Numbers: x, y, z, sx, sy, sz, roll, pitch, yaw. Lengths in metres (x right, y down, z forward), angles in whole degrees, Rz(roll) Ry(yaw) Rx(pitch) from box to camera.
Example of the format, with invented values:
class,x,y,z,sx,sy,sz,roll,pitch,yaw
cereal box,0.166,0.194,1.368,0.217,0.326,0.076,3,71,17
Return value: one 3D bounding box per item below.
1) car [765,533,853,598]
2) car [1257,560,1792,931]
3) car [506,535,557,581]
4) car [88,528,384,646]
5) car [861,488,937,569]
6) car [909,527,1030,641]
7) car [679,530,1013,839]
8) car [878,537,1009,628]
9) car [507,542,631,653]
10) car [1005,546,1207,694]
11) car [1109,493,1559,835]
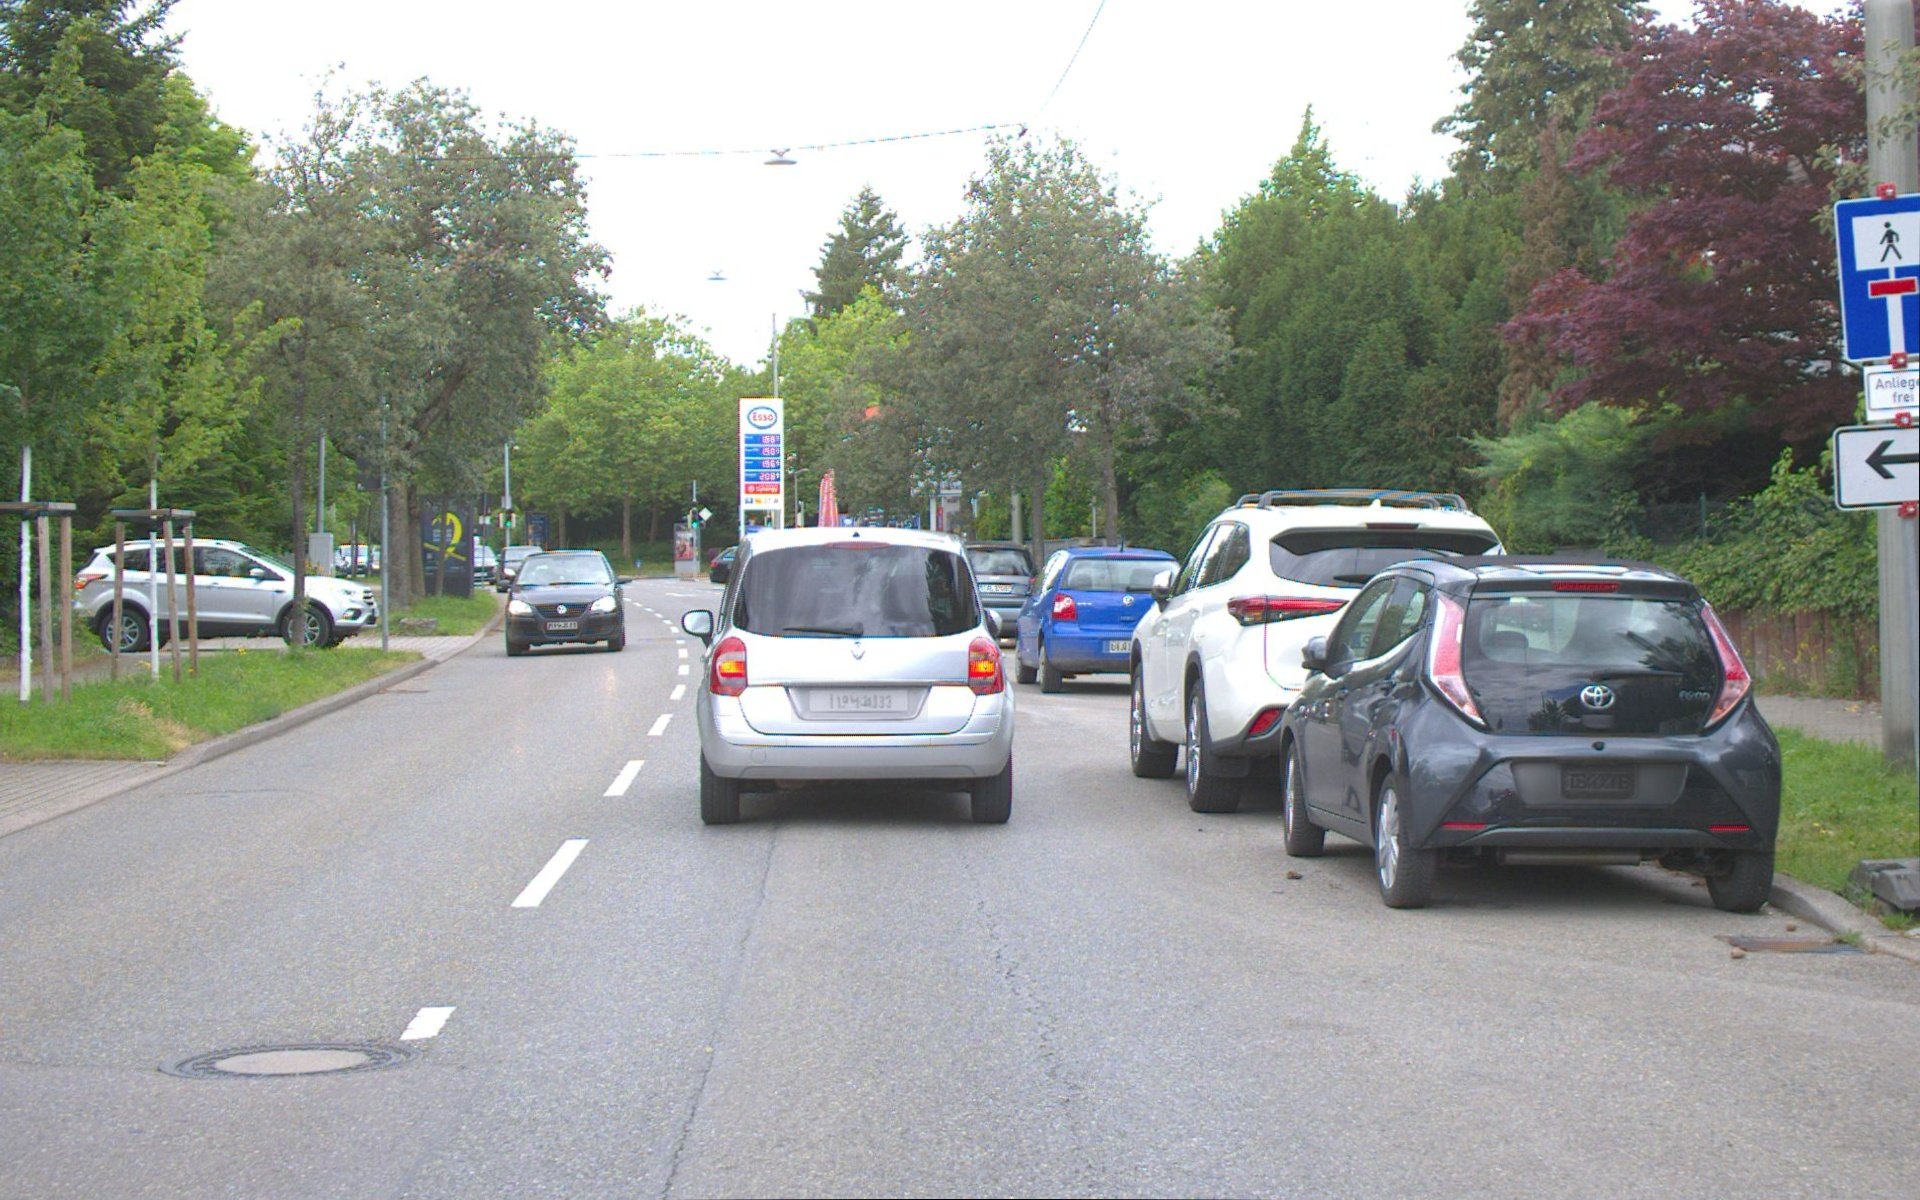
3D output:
class,x,y,z,sx,sy,sz,roll,pitch,yaw
car,-3.631,-0.842,82.113,1.695,1.501,3.974,0,1,-9
car,2.414,0.565,15.497,1.558,1.438,3.507,1,1,-5
car,-13.857,-1.375,111.067,1.544,1.465,3.743,-1,1,-8
car,-10.788,-0.214,51.437,4.086,1.700,1.748,0,1,-2
car,-2.293,-2.643,127.672,2.281,2.901,5.280,1,1,-6
car,0.144,-0.269,51.153,1.695,1.552,3.956,-1,2,0
car,-0.624,0.406,19.183,1.679,1.554,3.512,0,1,-1
car,-0.318,-0.313,56.537,1.696,1.428,4.341,0,1,-6
car,-5.581,-0.066,49.337,1.574,1.467,3.471,-3,1,-4
car,1.455,0.166,35.608,1.626,1.447,3.876,0,1,-4
car,2.071,0.291,20.420,1.799,1.772,4.706,1,1,-4
